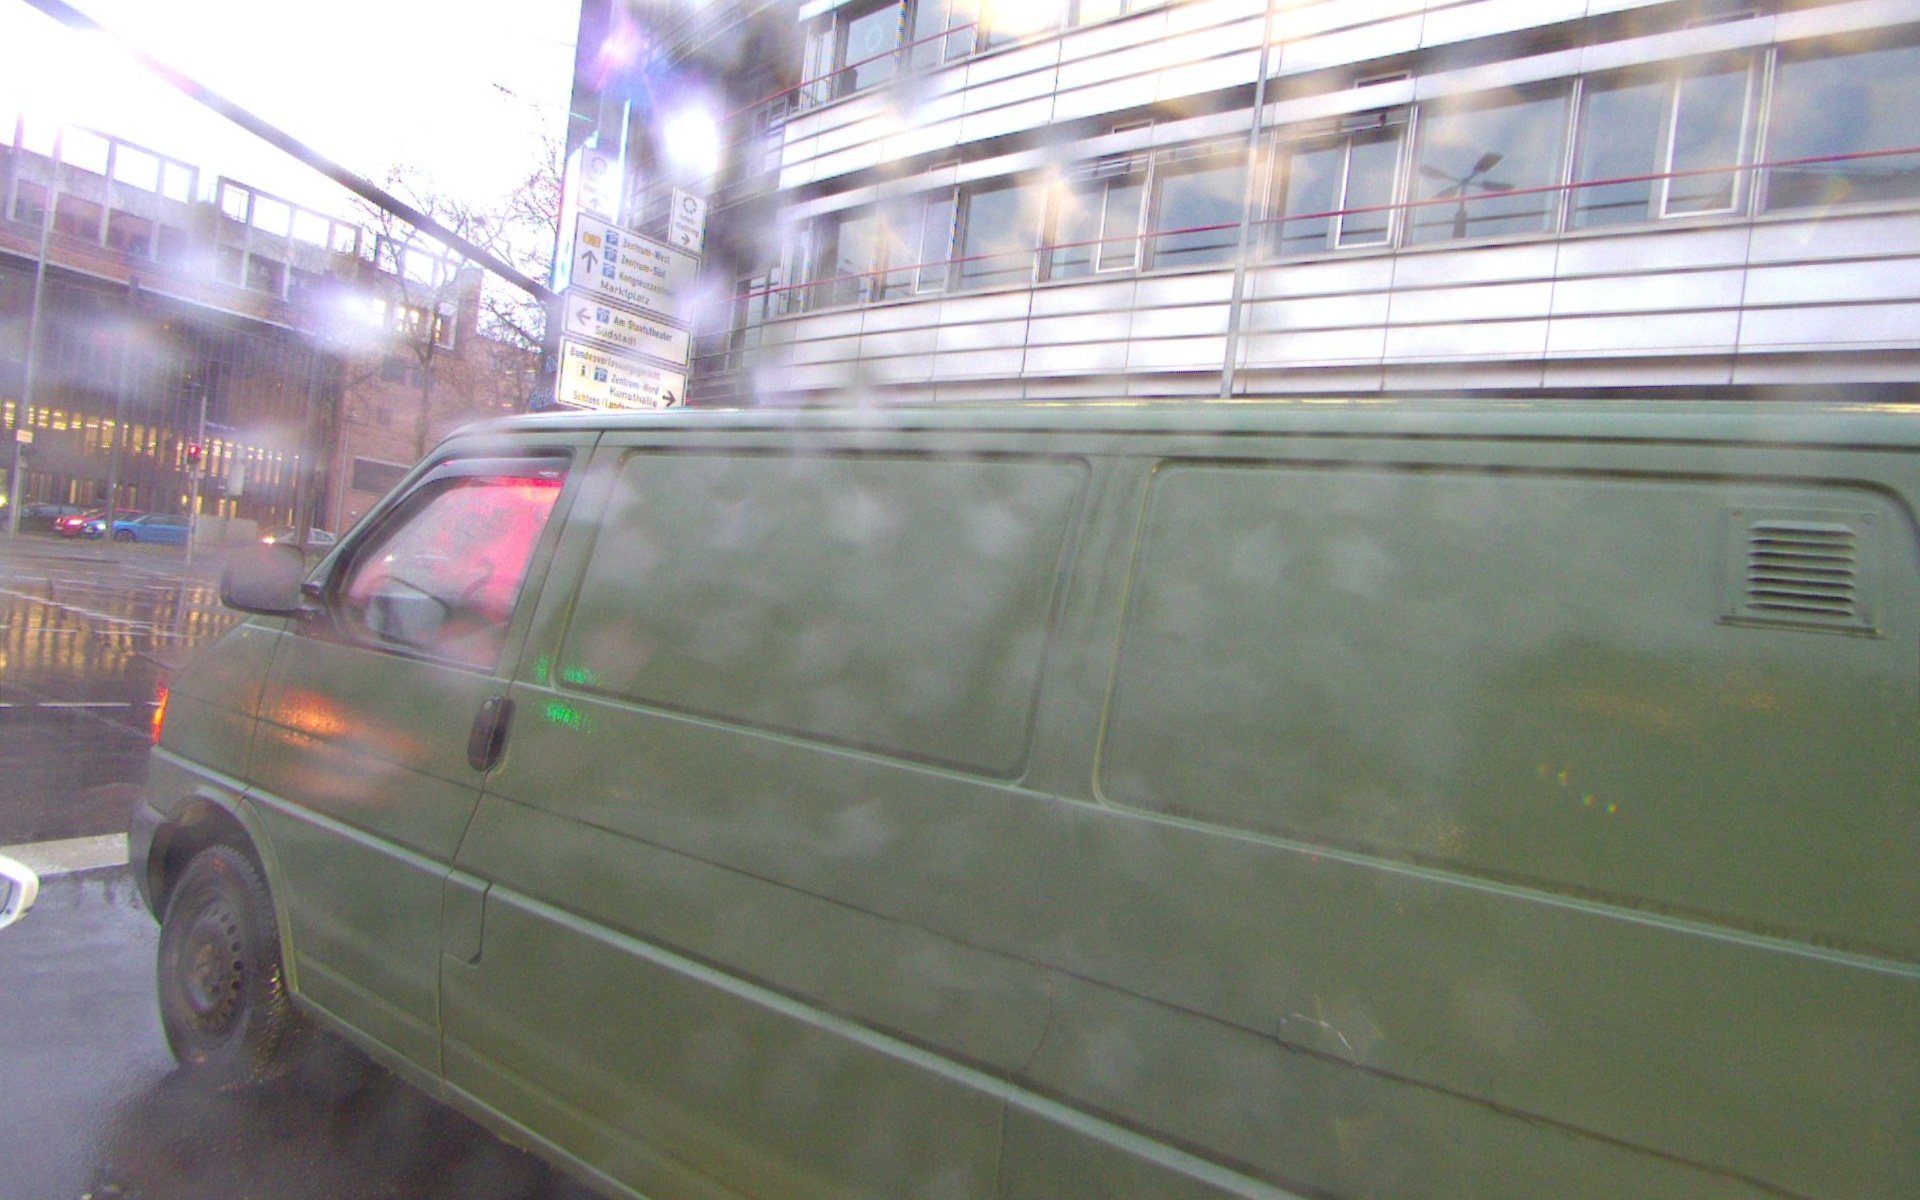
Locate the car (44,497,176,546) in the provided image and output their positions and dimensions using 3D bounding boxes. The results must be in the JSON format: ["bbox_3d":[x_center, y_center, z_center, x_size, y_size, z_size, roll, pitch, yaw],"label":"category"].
[{"bbox_3d":[-35.478,-3.258,42.104,1.814,1.278,3.729,11,1,26],"label":"car"}]

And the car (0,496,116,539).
[{"bbox_3d":[-39.205,-3.573,43.212,1.965,1.326,3.994,7,0,28],"label":"car"}]

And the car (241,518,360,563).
[{"bbox_3d":[-29.630,-2.668,45.307,1.814,1.304,3.997,11,1,26],"label":"car"}]

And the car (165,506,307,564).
[{"bbox_3d":[-28.299,-2.518,39.443,1.814,1.523,3.997,11,1,26],"label":"car"}]

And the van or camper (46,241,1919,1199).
[{"bbox_3d":[-0.333,0.534,2.624,4.345,1.929,1.760,7,-1,32],"label":"van or camper"}]

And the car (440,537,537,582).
[{"bbox_3d":[-23.557,-1.992,50.408,1.814,1.621,3.997,11,1,26],"label":"car"}]

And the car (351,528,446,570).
[{"bbox_3d":[-30.161,-2.709,54.133,1.814,1.523,3.997,11,1,26],"label":"car"}]

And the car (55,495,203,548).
[{"bbox_3d":[-32.435,-3.042,39.385,1.814,1.278,3.997,11,1,26],"label":"car"}]

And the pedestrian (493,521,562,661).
[{"bbox_3d":[-7.081,-0.140,16.477,0.609,2.210,0.576,6,0,26],"label":"pedestrian"}]
